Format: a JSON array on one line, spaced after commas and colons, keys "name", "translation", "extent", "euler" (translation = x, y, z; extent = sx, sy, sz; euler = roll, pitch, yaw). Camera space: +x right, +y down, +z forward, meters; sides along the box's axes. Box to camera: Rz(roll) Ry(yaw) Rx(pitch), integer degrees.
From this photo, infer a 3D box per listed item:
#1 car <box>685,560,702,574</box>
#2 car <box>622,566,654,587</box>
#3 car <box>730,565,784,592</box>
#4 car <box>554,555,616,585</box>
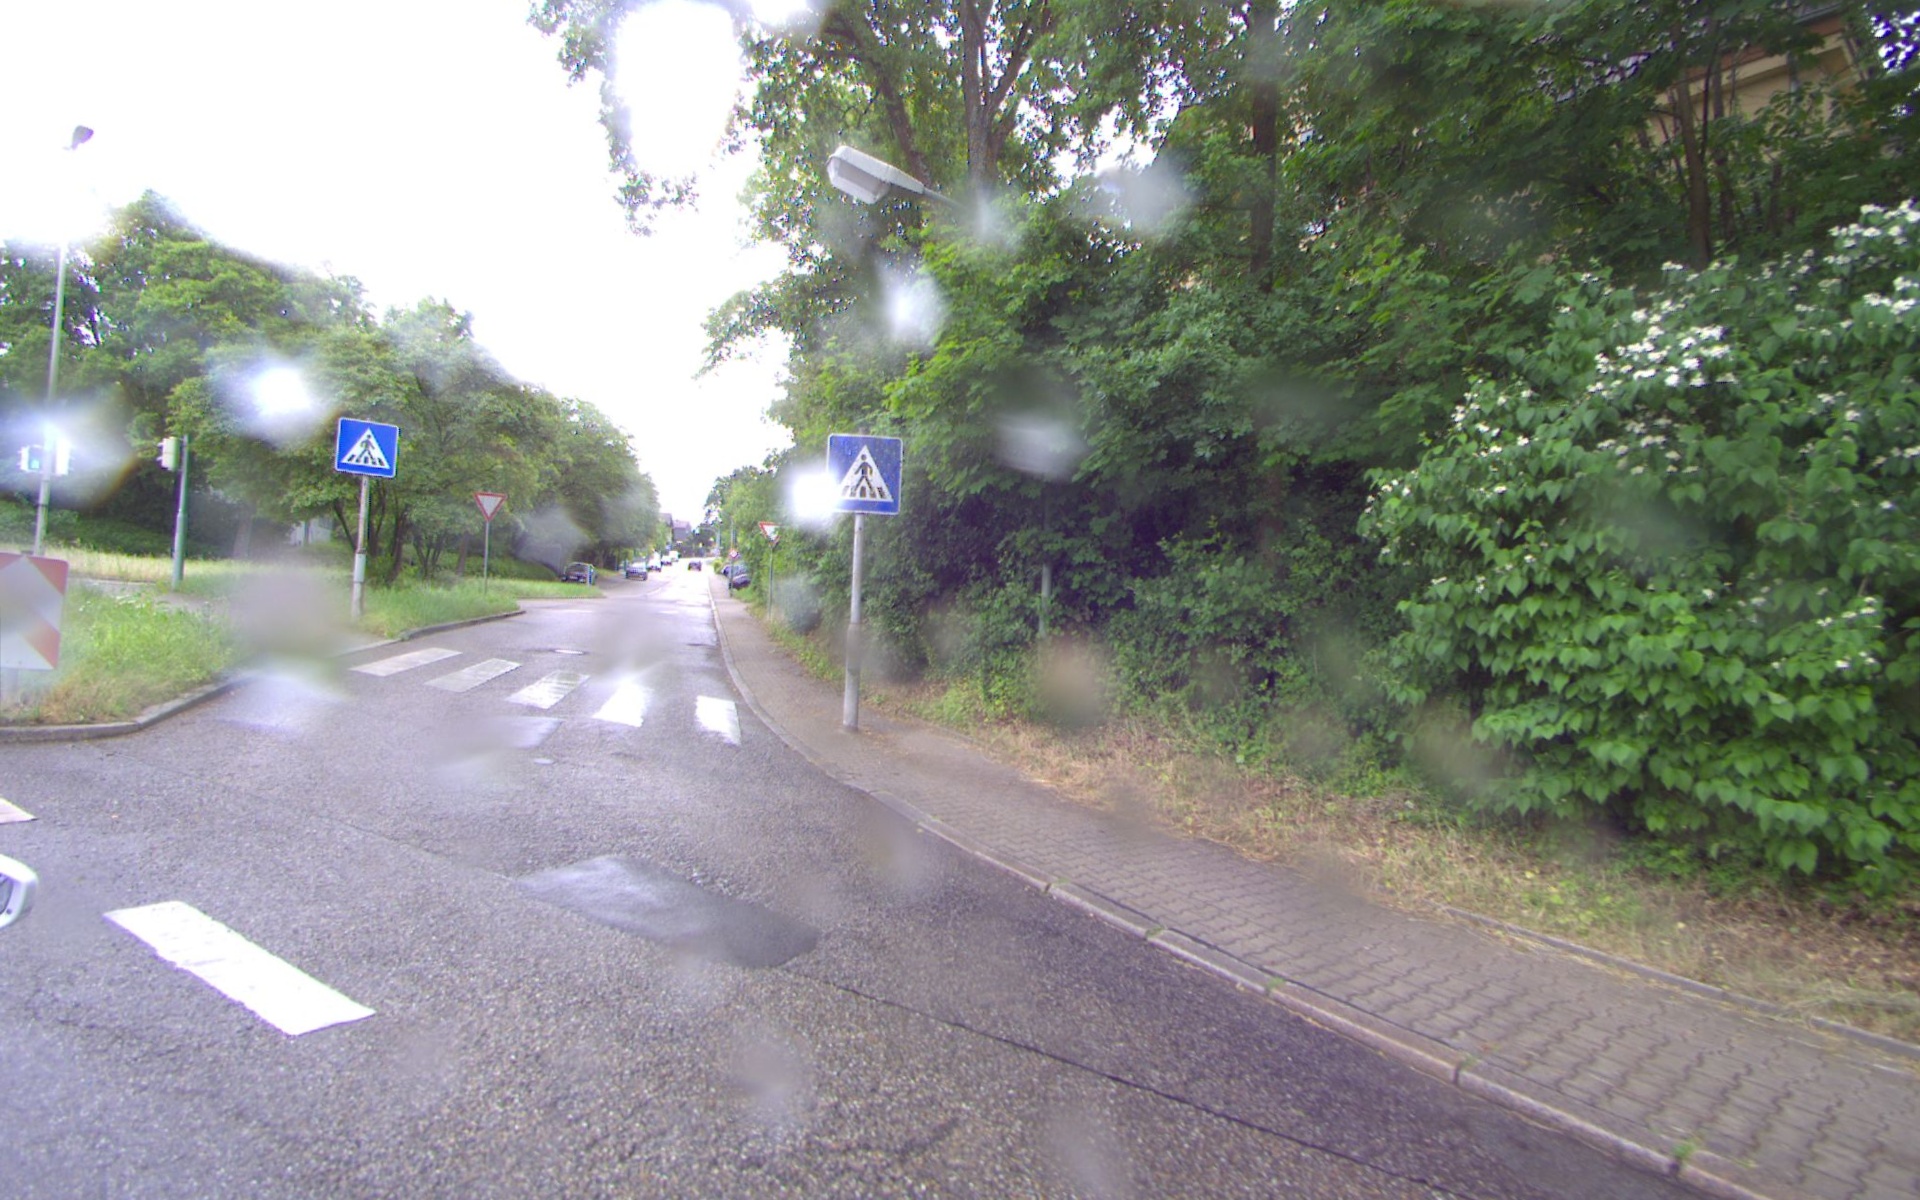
[{"name": "car", "translation": [-37.657, -4.664, 142.287], "extent": [1.918, 1.474, 4.201], "euler": [8, -2, -19]}, {"name": "car", "translation": [-29.979, -2.180, 93.679], "extent": [1.672, 1.462, 4.002], "euler": [7, -2, -2]}, {"name": "car", "translation": [-15.955, -1.706, 79.098], "extent": [3.937, 1.668, 1.951], "euler": [6, 0, -15]}, {"name": "car", "translation": [-25.004, -1.976, 67.256], "extent": [1.793, 1.590, 4.001], "euler": [6, 0, 15]}]
